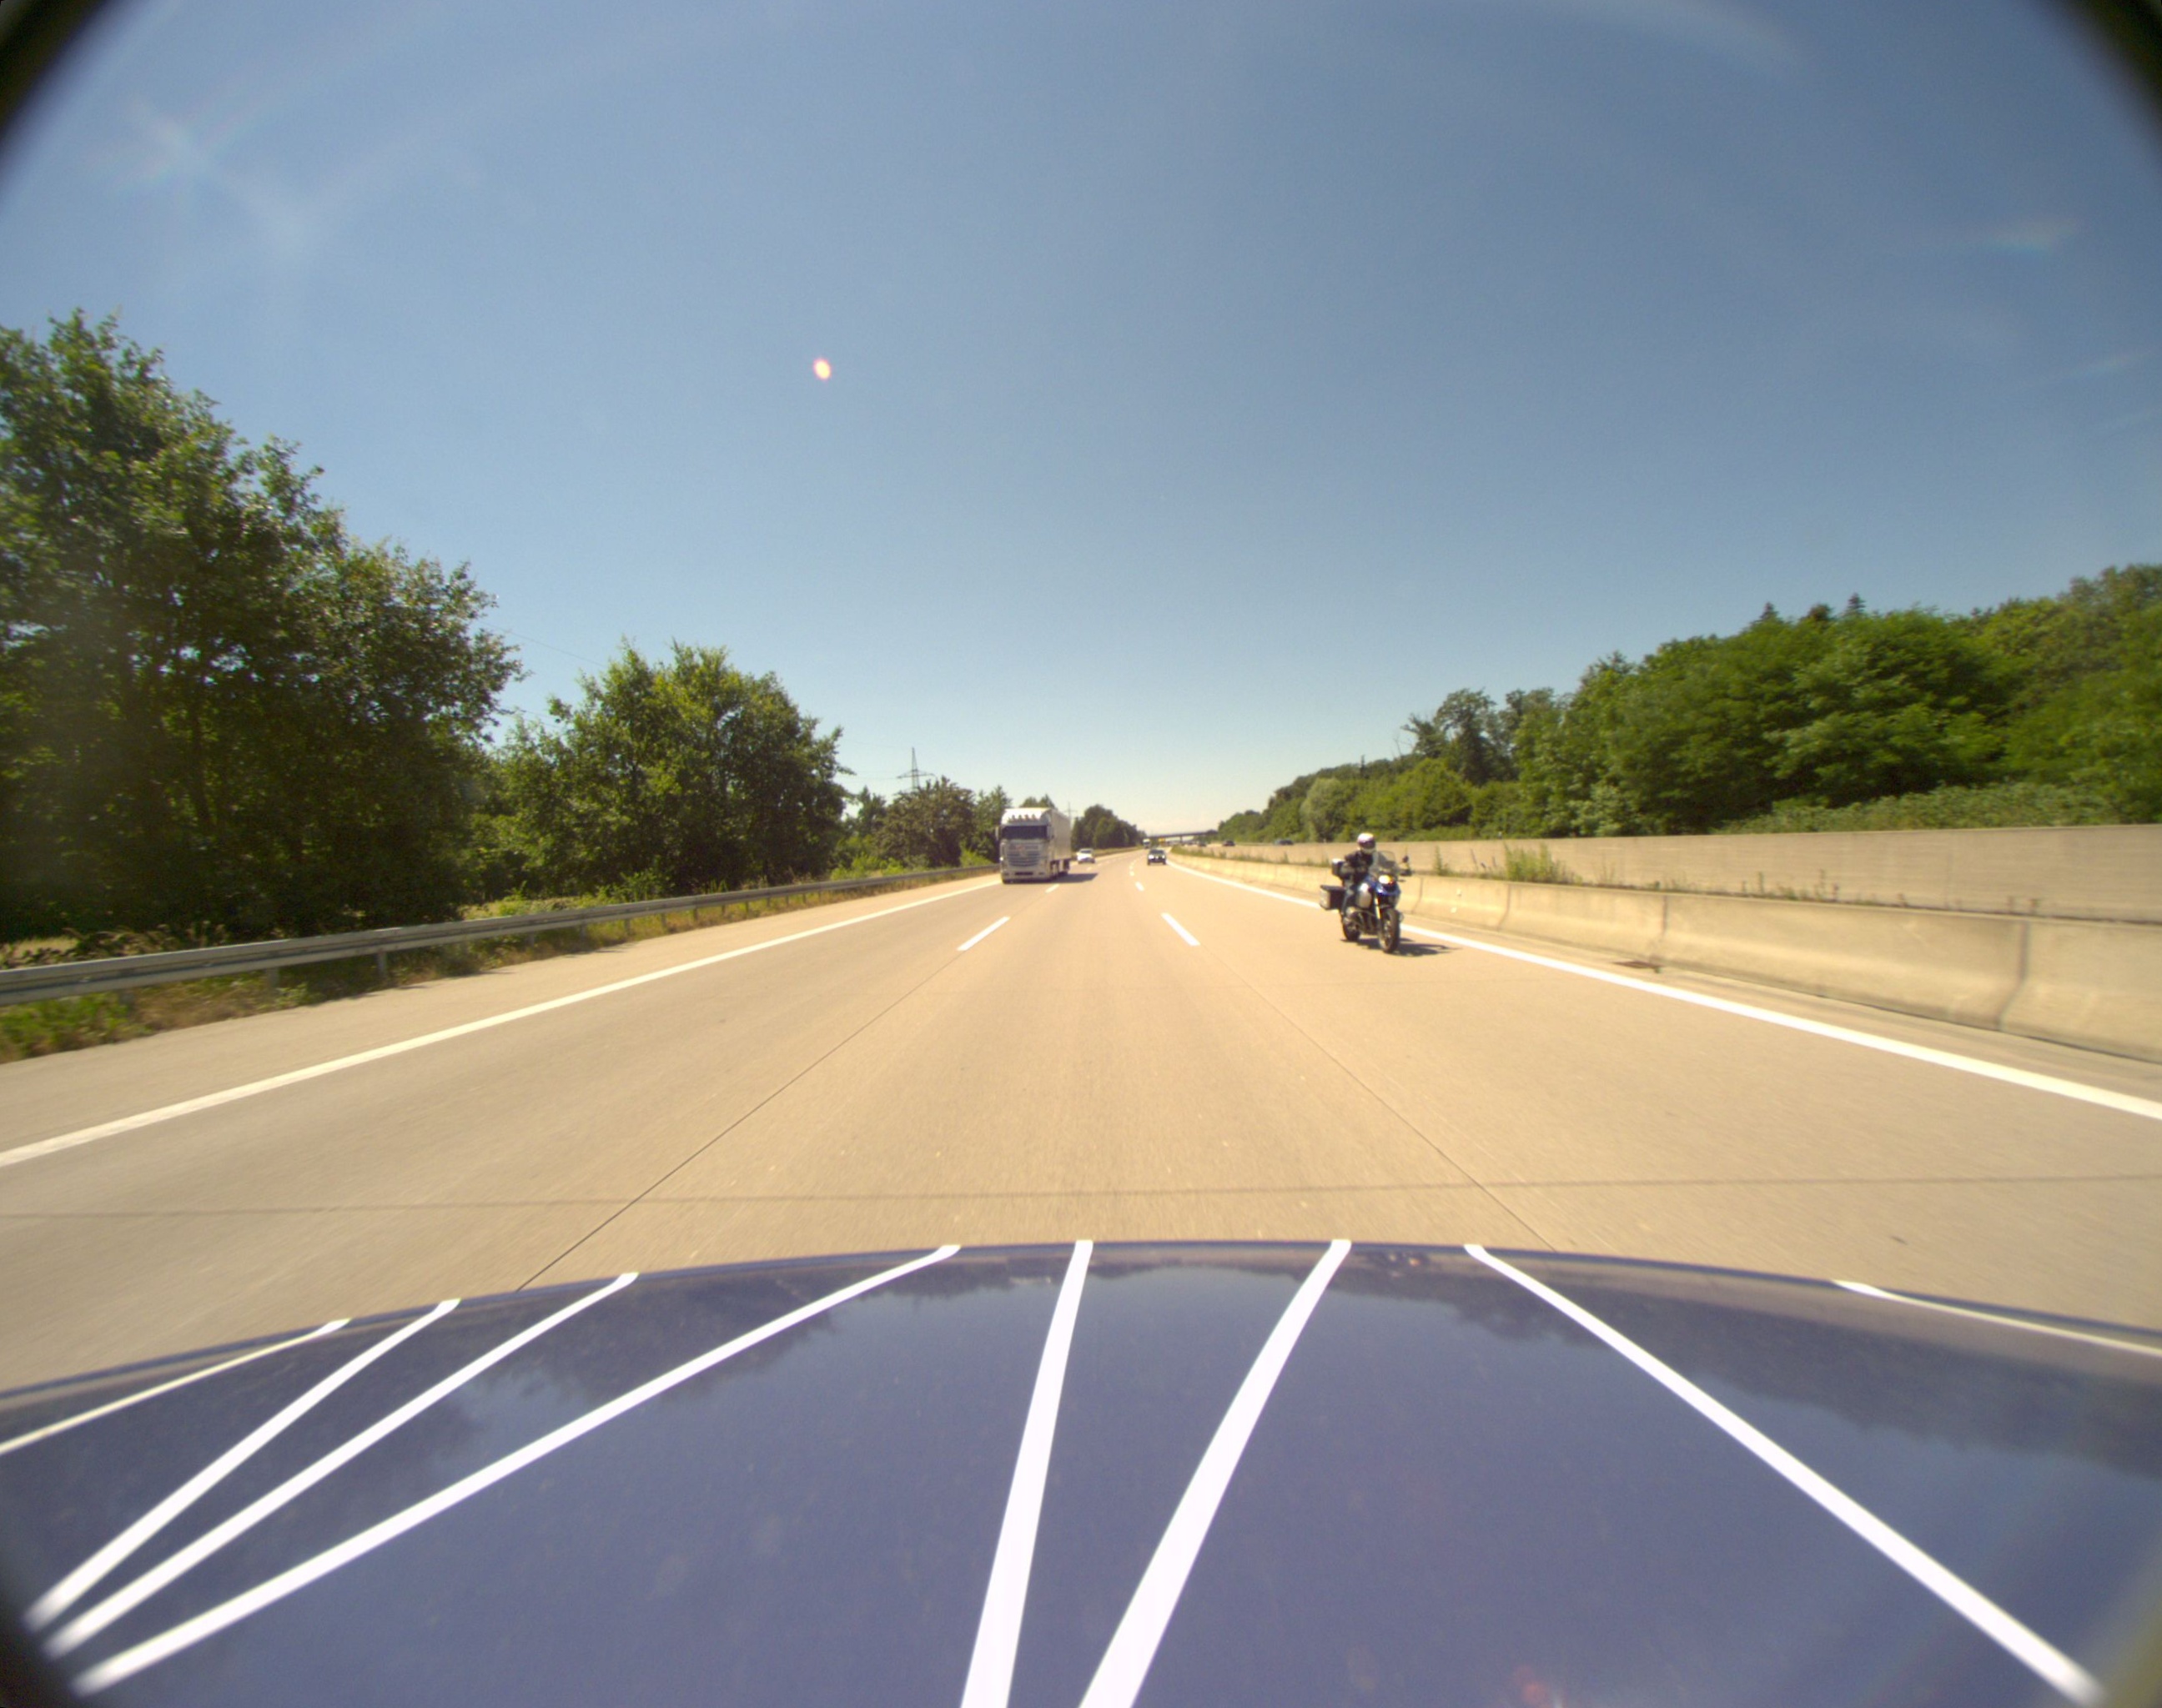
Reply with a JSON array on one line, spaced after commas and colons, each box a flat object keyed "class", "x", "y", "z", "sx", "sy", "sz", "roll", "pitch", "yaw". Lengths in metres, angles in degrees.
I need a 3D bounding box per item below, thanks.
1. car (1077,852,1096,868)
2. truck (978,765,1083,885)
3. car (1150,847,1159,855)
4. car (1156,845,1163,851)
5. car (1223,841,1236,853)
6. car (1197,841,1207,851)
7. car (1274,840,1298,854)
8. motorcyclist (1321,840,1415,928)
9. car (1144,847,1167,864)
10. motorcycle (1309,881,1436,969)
[{"class": "car", "x": 0.746, "y": 0.757, "z": 97.665, "sx": 1.883, "sy": 1.878, "sz": 5.281, "roll": -5, "pitch": 0, "yaw": 4}, {"class": "truck", "x": -2.519, "y": -1.459, "z": 47.168, "sx": 3.585, "sy": 5.753, "sz": 18.251, "roll": -5, "pitch": 0, "yaw": 4}, {"class": "car", "x": 16.504, "y": -0.727, "z": 170.374, "sx": 1.585, "sy": 1.527, "sz": 3.613, "roll": -5, "pitch": 0, "yaw": 8}, {"class": "car", "x": 21.553, "y": -1.761, "z": 207.795, "sx": 1.579, "sy": 1.565, "sz": 3.675, "roll": -2, "pitch": 1, "yaw": 3}, {"class": "car", "x": 25.686, "y": -1.255, "z": 131.488, "sx": 1.662, "sy": 1.911, "sz": 4.139, "roll": -2, "pitch": 1, "yaw": 4}, {"class": "car", "x": 25.333, "y": -1.638, "z": 159.575, "sx": 1.662, "sy": 1.911, "sz": 4.007, "roll": -3, "pitch": 0, "yaw": 4}, {"class": "car", "x": 21.401, "y": -0.705, "z": 79.295, "sx": 1.616, "sy": 1.319, "sz": 3.642, "roll": -3, "pitch": 0, "yaw": 3}, {"class": "motorcyclist", "x": 4.202, "y": 0.429, "z": 11.214, "sx": 1.027, "sy": 1.202, "sz": 0.911, "roll": -2, "pitch": 0, "yaw": 3}, {"class": "car", "x": 7.428, "y": 0.122, "z": 75.506, "sx": 1.997, "sy": 1.518, "sz": 4.002, "roll": -2, "pitch": 1, "yaw": 8}, {"class": "motorcycle", "x": 4.222, "y": 0.986, "z": 11.266, "sx": 1.023, "sy": 1.042, "sz": 2.413, "roll": -2, "pitch": 0, "yaw": 2}]
